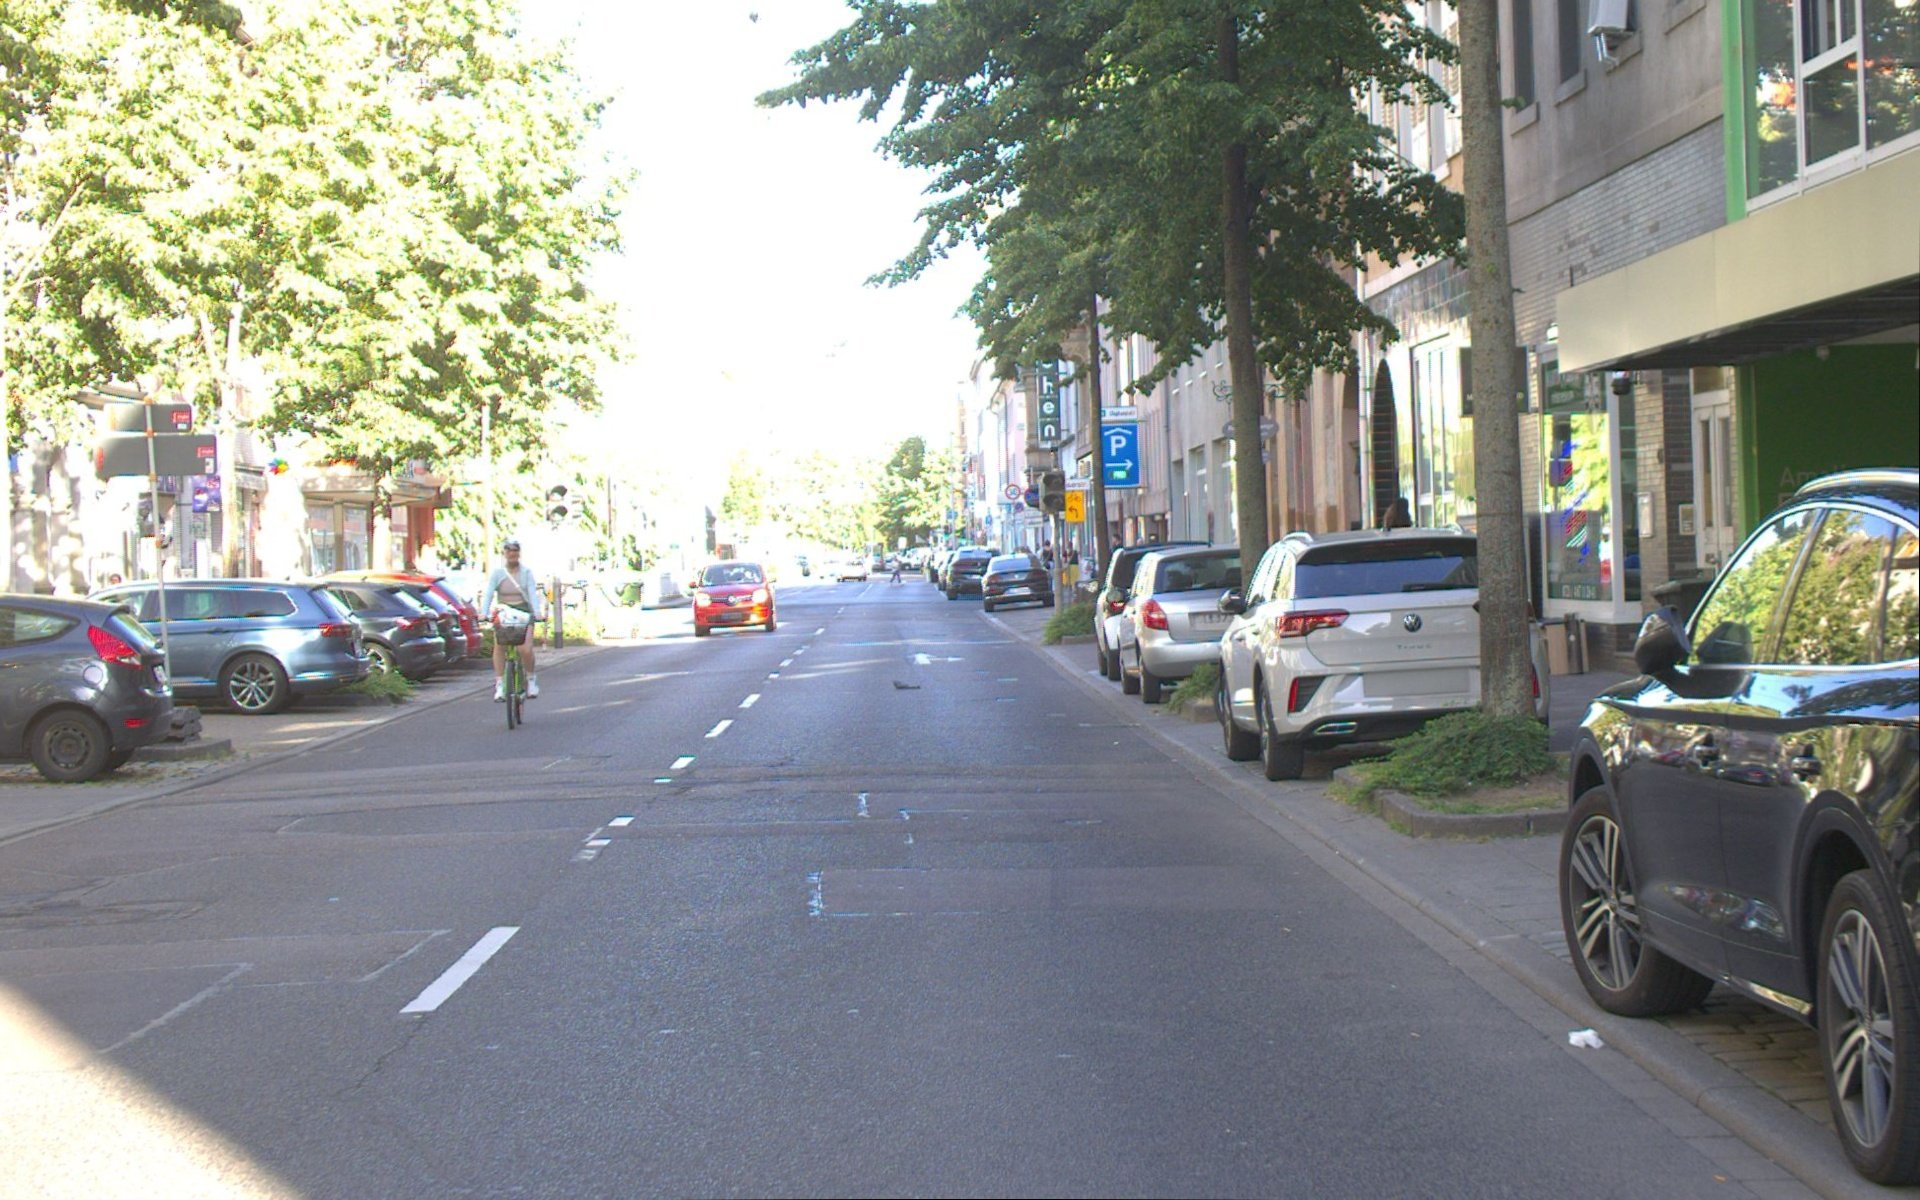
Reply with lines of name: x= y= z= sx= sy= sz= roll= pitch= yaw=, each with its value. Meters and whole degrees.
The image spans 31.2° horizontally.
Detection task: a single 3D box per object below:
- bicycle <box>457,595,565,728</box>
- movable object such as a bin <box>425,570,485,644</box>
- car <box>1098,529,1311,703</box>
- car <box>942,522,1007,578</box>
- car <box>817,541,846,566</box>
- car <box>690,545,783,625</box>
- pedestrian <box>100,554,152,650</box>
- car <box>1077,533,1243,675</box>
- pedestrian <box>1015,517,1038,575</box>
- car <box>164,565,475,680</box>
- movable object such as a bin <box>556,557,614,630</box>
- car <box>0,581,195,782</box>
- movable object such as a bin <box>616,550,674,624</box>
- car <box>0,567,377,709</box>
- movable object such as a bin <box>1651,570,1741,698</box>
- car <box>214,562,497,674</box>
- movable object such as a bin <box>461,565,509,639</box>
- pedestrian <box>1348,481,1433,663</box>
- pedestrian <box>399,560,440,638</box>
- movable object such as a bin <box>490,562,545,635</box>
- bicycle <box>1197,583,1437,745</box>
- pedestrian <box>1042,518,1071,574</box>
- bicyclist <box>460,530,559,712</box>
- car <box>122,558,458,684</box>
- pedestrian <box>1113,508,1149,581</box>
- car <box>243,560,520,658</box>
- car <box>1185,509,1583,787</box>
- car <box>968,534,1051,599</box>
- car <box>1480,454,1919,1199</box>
bicycle: x=-4.322 y=0.574 z=33.213 sx=0.725 sy=1.165 sz=2.197 roll=-2 pitch=1 yaw=-1
movable object such as a bin: x=-10.490 y=0.139 z=71.425 sx=1.042 sy=1.466 sz=1.143 roll=-3 pitch=1 yaw=-2
car: x=2.434 y=0.112 z=35.126 sx=1.614 sy=1.523 sz=4.235 roll=-5 pitch=1 yaw=-2
car: x=0.444 y=-1.617 z=110.418 sx=1.973 sy=1.719 sz=4.824 roll=-1 pitch=1 yaw=-1
car: x=-9.734 y=-3.538 z=261.542 sx=1.993 sy=1.765 sz=4.000 roll=-1 pitch=2 yaw=0
car: x=-4.698 y=-0.332 z=72.682 sx=1.658 sy=1.530 sz=3.761 roll=-4 pitch=1 yaw=-1
pedestrian: x=-12.458 y=0.030 z=51.359 sx=0.508 sy=1.403 sz=0.825 roll=-1 pitch=1 yaw=3
car: x=2.350 y=0.018 z=41.103 sx=1.613 sy=1.523 sz=3.061 roll=-4 pitch=1 yaw=-2
pedestrian: x=2.047 y=-1.679 z=106.053 sx=0.620 sy=1.760 sz=0.518 roll=-2 pitch=1 yaw=2
car: x=-8.684 y=0.294 z=46.826 sx=3.841 sy=1.424 sz=1.789 roll=-1 pitch=1 yaw=1
movable object such as a bin: x=-7.790 y=-0.141 z=71.411 sx=1.042 sy=1.466 sz=1.143 roll=-3 pitch=1 yaw=-2
car: x=-7.988 y=0.653 z=26.780 sx=3.779 sy=1.453 sz=1.781 roll=-2 pitch=1 yaw=-8
movable object such as a bin: x=-6.555 y=-0.275 z=71.622 sx=1.042 sy=1.466 sz=1.453 roll=-3 pitch=1 yaw=-2
car: x=-8.761 y=0.400 z=37.606 sx=4.492 sy=1.454 sz=1.790 roll=-1 pitch=1 yaw=-2
movable object such as a bin: x=5.729 y=0.259 z=26.779 sx=0.522 sy=0.953 sz=0.655 roll=-3 pitch=1 yaw=0
car: x=-8.640 y=0.241 z=49.358 sx=3.748 sy=1.463 sz=1.740 roll=-2 pitch=1 yaw=-1
movable object such as a bin: x=-8.895 y=0.026 z=64.395 sx=0.754 sy=1.336 sz=0.805 roll=-3 pitch=1 yaw=-2
pedestrian: x=4.322 y=-0.284 z=34.539 sx=0.623 sy=1.759 sz=0.771 roll=-4 pitch=1 yaw=0
pedestrian: x=-11.737 y=-0.021 z=74.673 sx=0.665 sy=1.653 sz=1.037 roll=-2 pitch=1 yaw=-1
movable object such as a bin: x=-9.209 y=-0.031 z=71.540 sx=0.964 sy=1.466 sz=1.143 roll=-2 pitch=1 yaw=-2
bicycle: x=2.671 y=0.470 z=25.802 sx=1.622 sy=1.009 sz=0.611 roll=-7 pitch=1 yaw=-2
pedestrian: x=2.975 y=-1.658 z=105.853 sx=0.801 sy=1.669 sz=0.589 roll=-4 pitch=1 yaw=2
bicyclist: x=-4.336 y=0.183 z=33.151 sx=0.725 sy=1.694 sz=1.282 roll=-2 pitch=1 yaw=0
car: x=-8.567 y=0.253 z=44.184 sx=3.919 sy=1.480 sz=1.771 roll=-1 pitch=1 yaw=1
pedestrian: x=3.755 y=-1.224 z=75.507 sx=0.580 sy=1.554 sz=1.021 roll=-5 pitch=1 yaw=-2
car: x=-9.501 y=0.141 z=56.658 sx=4.203 sy=1.463 sz=1.740 roll=-1 pitch=1 yaw=1
car: x=2.678 y=0.246 z=22.682 sx=1.883 sy=1.521 sz=4.234 roll=-4 pitch=1 yaw=-2
car: x=1.283 y=-0.918 z=90.808 sx=1.917 sy=1.473 sz=4.965 roll=-6 pitch=1 yaw=-1
car: x=2.856 y=0.439 z=9.183 sx=1.993 sy=1.684 sz=4.517 roll=-5 pitch=1 yaw=-1
